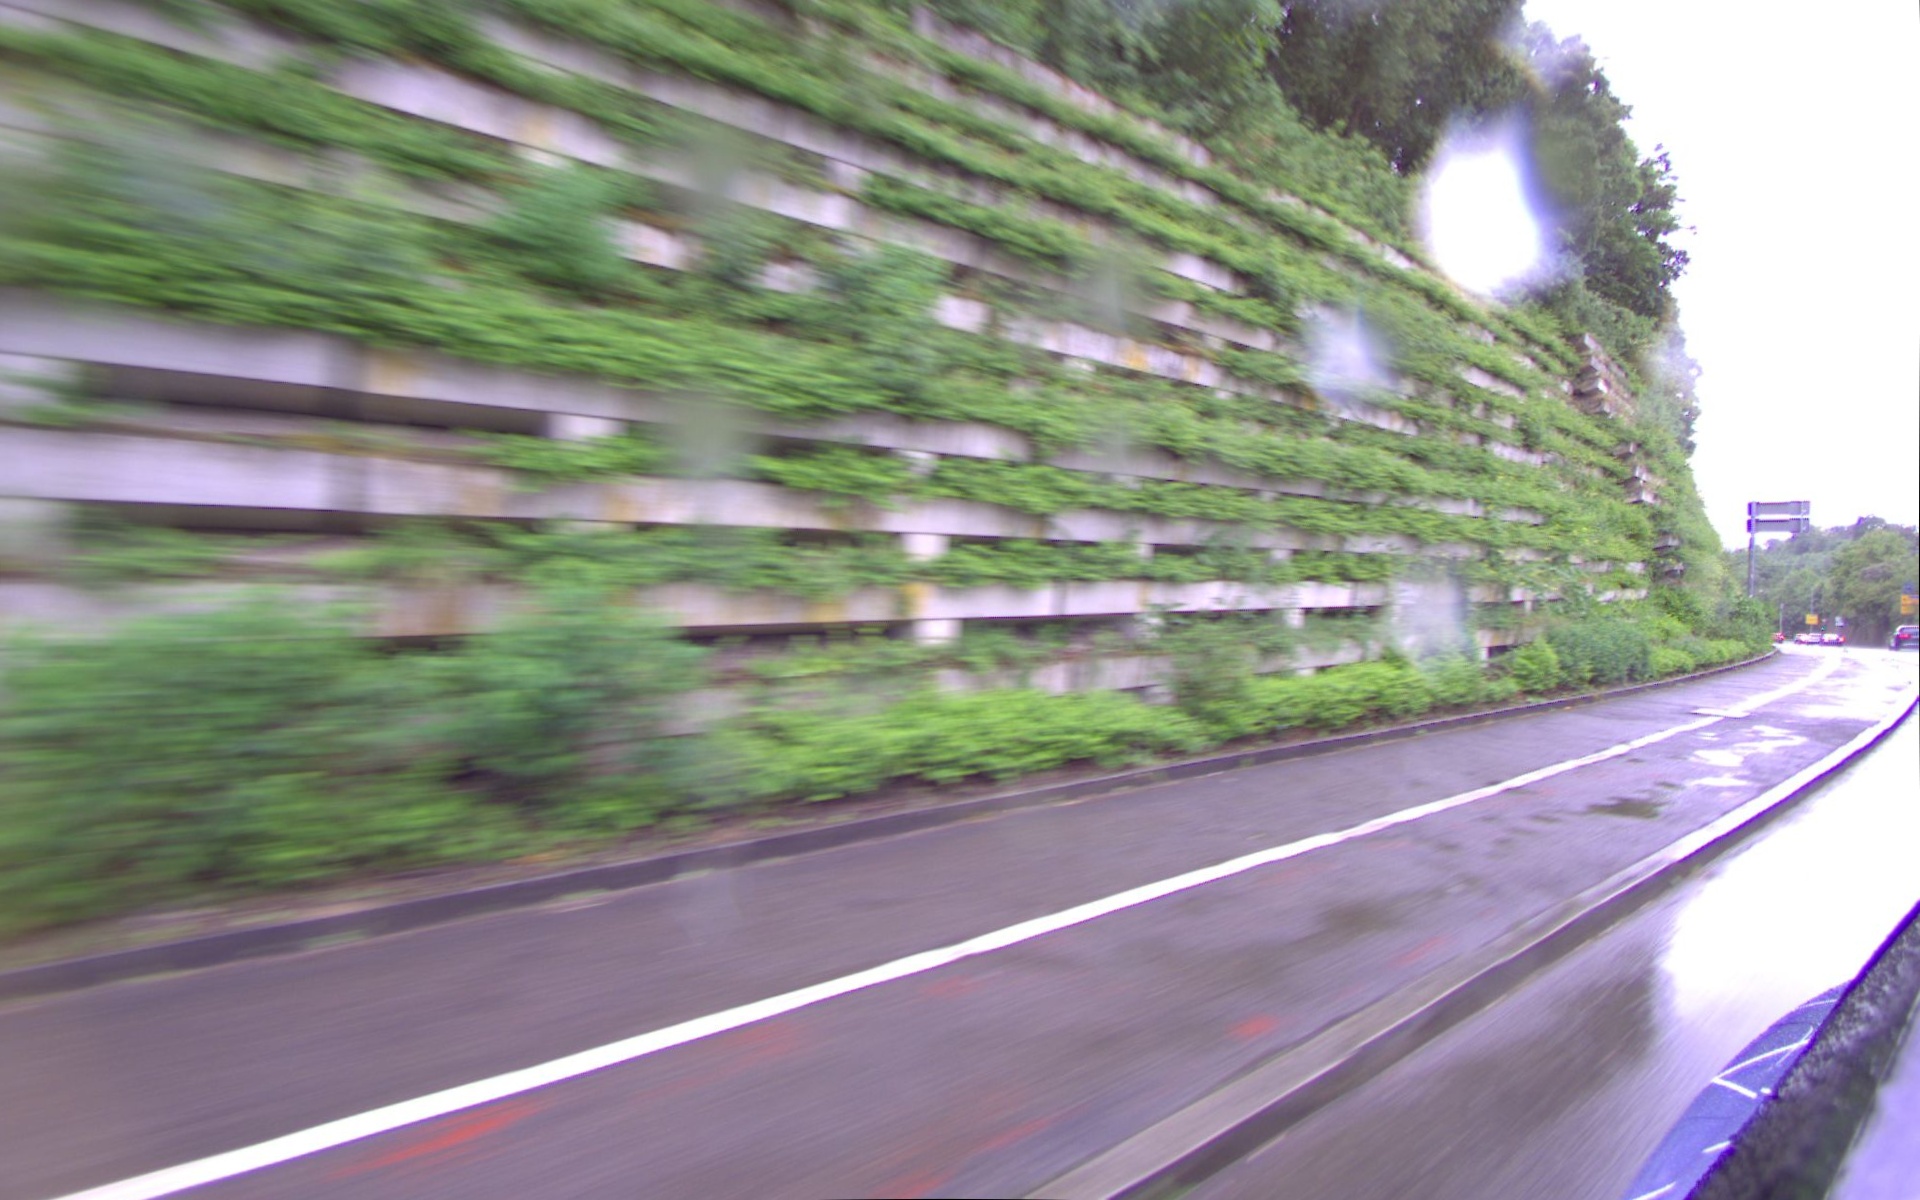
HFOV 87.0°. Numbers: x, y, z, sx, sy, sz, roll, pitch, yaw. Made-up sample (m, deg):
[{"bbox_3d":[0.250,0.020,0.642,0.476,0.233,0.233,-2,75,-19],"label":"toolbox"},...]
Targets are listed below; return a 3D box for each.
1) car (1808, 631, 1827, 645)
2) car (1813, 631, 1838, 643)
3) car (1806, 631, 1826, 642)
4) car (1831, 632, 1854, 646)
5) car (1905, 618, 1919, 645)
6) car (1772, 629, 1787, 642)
[{"bbox_3d":[136.970,6.016,161.712,3.934,2.039,1.995,1,0,-45],"label":"car"},{"bbox_3d":[115.973,4.937,135.607,1.986,1.545,3.952,1,0,33],"label":"car"},{"bbox_3d":[125.893,5.379,148.830,1.988,1.545,3.947,1,0,36],"label":"car"},{"bbox_3d":[97.087,4.298,111.319,1.793,1.427,3.939,0,0,42],"label":"car"},{"bbox_3d":[60.974,1.987,63.803,1.796,1.656,3.941,3,1,40],"label":"car"},{"bbox_3d":[126.240,5.517,155.845,1.791,1.866,3.943,1,0,39],"label":"car"}]
